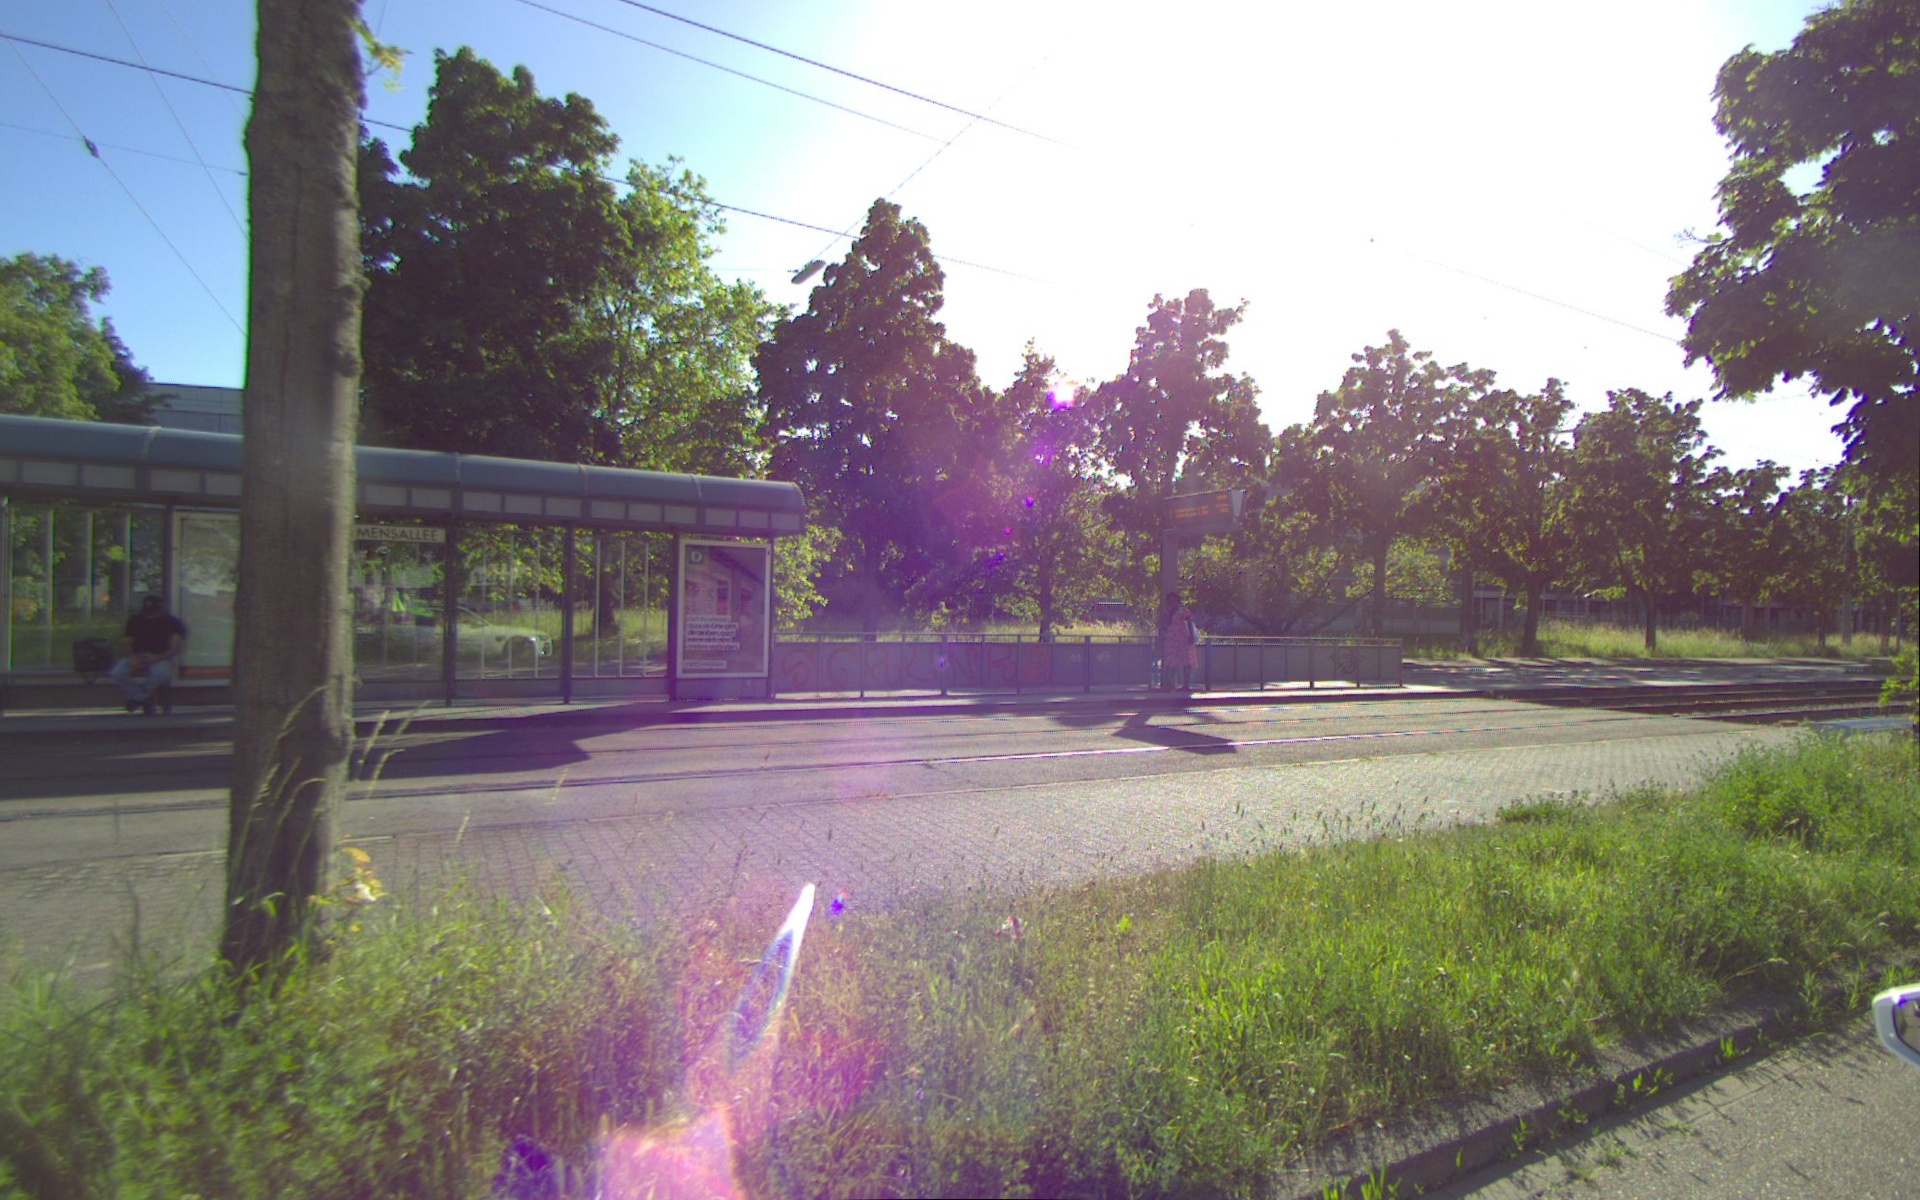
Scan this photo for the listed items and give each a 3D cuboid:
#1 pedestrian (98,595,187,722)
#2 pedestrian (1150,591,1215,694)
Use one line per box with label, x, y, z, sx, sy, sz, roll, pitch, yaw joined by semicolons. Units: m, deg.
pedestrian;-8.522;0.602;10.485;0.676;1.265;0.643;2;-3;-39
pedestrian;3.919;0.734;17.714;0.773;1.775;0.780;2;0;-31
